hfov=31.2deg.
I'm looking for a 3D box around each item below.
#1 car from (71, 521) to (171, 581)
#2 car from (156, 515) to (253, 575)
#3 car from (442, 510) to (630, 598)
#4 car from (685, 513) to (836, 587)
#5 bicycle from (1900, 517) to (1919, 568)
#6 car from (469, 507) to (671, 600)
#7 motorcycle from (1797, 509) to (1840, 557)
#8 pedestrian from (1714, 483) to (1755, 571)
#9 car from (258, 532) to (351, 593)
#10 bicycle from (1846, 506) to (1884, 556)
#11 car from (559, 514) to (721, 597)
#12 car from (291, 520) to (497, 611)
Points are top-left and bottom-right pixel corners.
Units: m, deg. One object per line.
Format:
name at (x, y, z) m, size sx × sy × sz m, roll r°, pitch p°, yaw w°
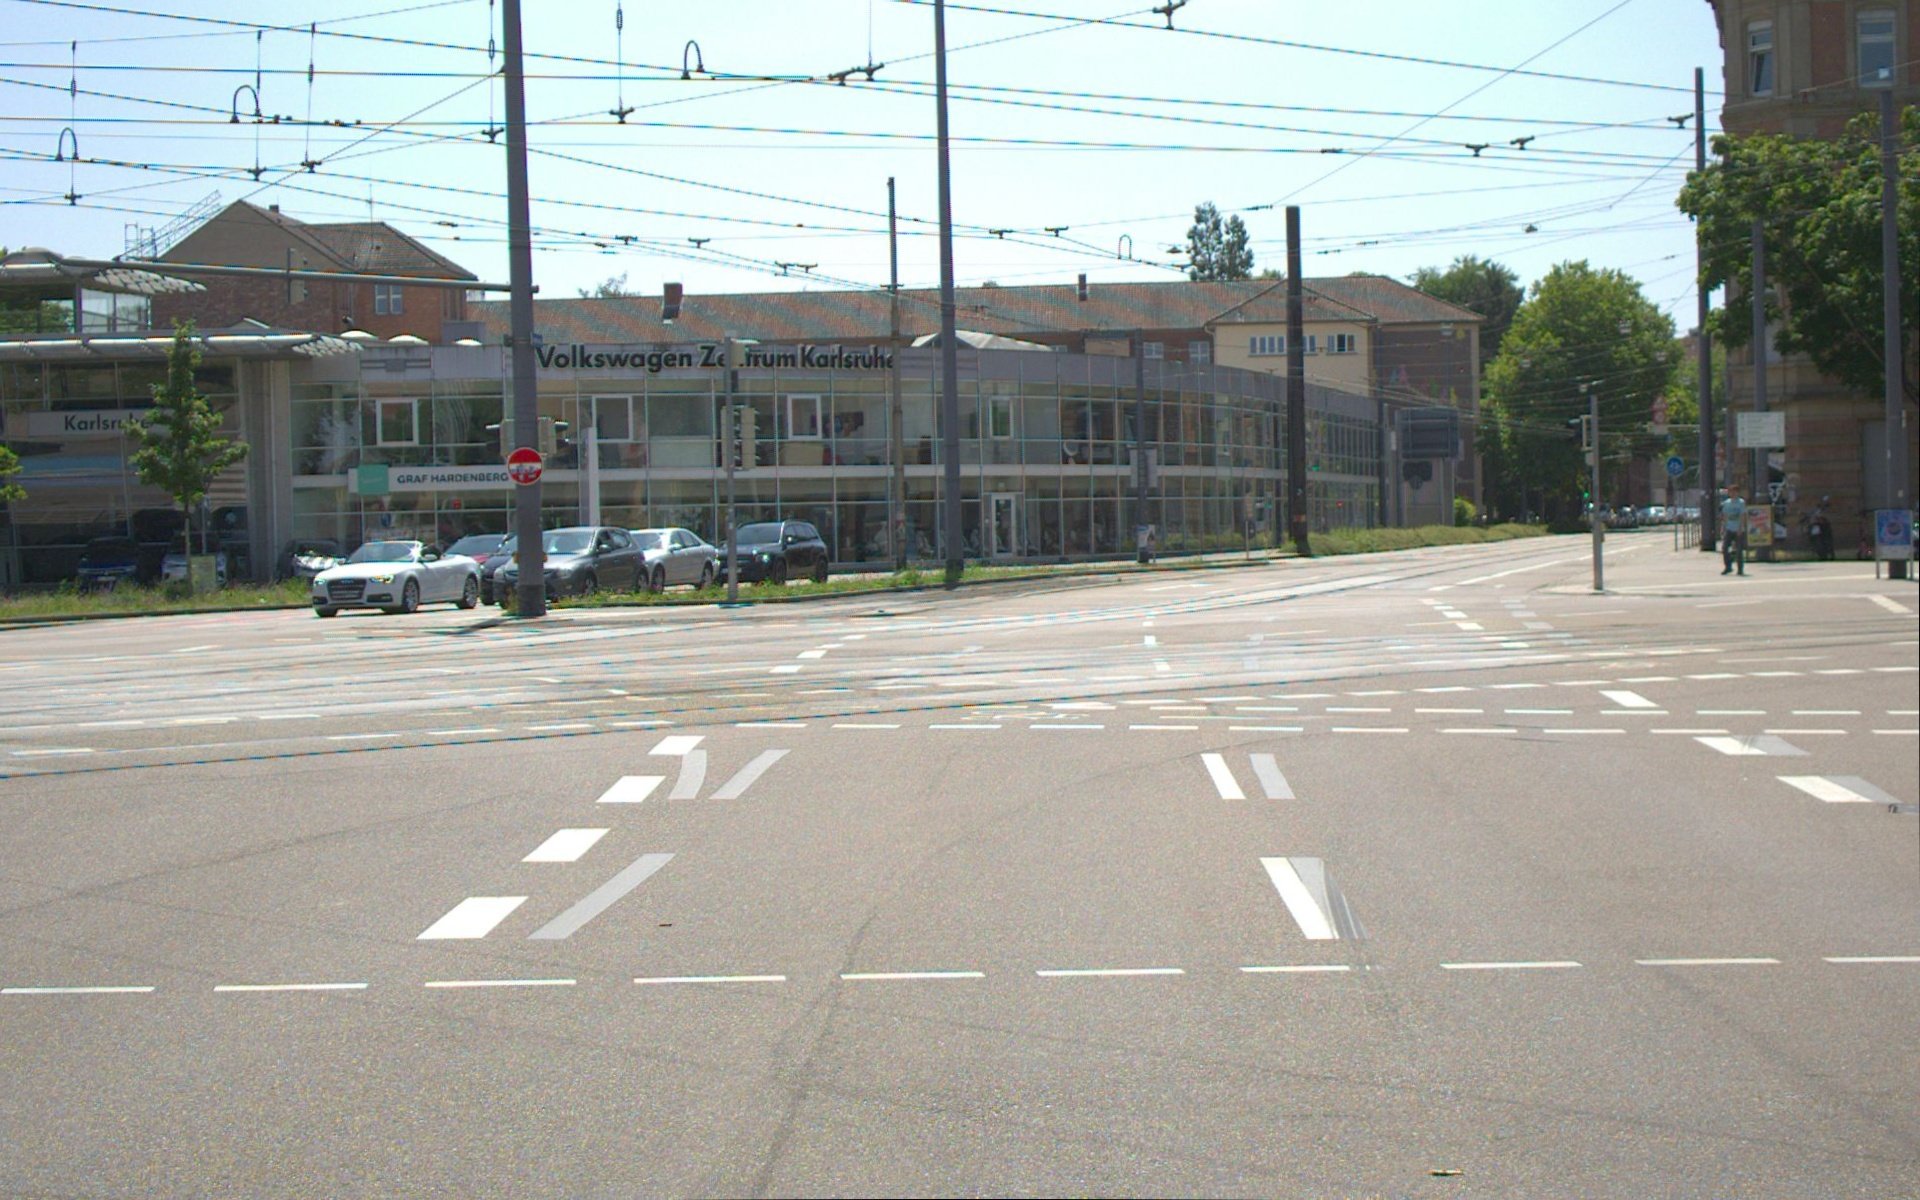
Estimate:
car at (-24.387, -1.418, 100.046) m, size 1.920 × 1.701 × 4.000 m, roll 1°, pitch 0°, yaw 0°
car at (-21.957, -1.582, 100.064) m, size 1.920 × 1.701 × 4.000 m, roll 1°, pitch 0°, yaw 0°
car at (-8.615, -0.966, 70.322) m, size 1.995 × 1.694 × 4.843 m, roll -1°, pitch 1°, yaw 17°
car at (-4.781, -1.231, 83.121) m, size 2.080 × 1.677 × 4.843 m, roll -1°, pitch 1°, yaw 17°
bicycle at (22.018, -1.323, 79.046) m, size 0.442 × 1.142 × 2.093 m, roll 1°, pitch 0°, yaw 6°
car at (-7.264, -0.898, 64.494) m, size 1.995 × 1.631 × 4.843 m, roll -1°, pitch 1°, yaw 17°
motorcycle at (19.764, -1.551, 79.161) m, size 0.580 × 1.071 × 1.946 m, roll -1°, pitch 1°, yaw 3°
pedestrian at (15.152, -1.432, 67.255) m, size 0.461 × 1.702 × 0.640 m, roll -2°, pitch 1°, yaw -31°
car at (-19.063, -1.084, 100.162) m, size 1.920 × 1.701 × 4.000 m, roll 1°, pitch 0°, yaw 0°
bicycle at (20.797, -1.593, 79.037) m, size 0.551 × 1.116 × 1.820 m, roll -1°, pitch 1°, yaw 6°
car at (-7.058, -1.019, 76.266) m, size 1.995 × 1.733 × 4.540 m, roll -1°, pitch 1°, yaw 17°
car at (-10.510, -0.669, 64.187) m, size 2.078 × 1.574 × 4.844 m, roll -1°, pitch 1°, yaw 13°
